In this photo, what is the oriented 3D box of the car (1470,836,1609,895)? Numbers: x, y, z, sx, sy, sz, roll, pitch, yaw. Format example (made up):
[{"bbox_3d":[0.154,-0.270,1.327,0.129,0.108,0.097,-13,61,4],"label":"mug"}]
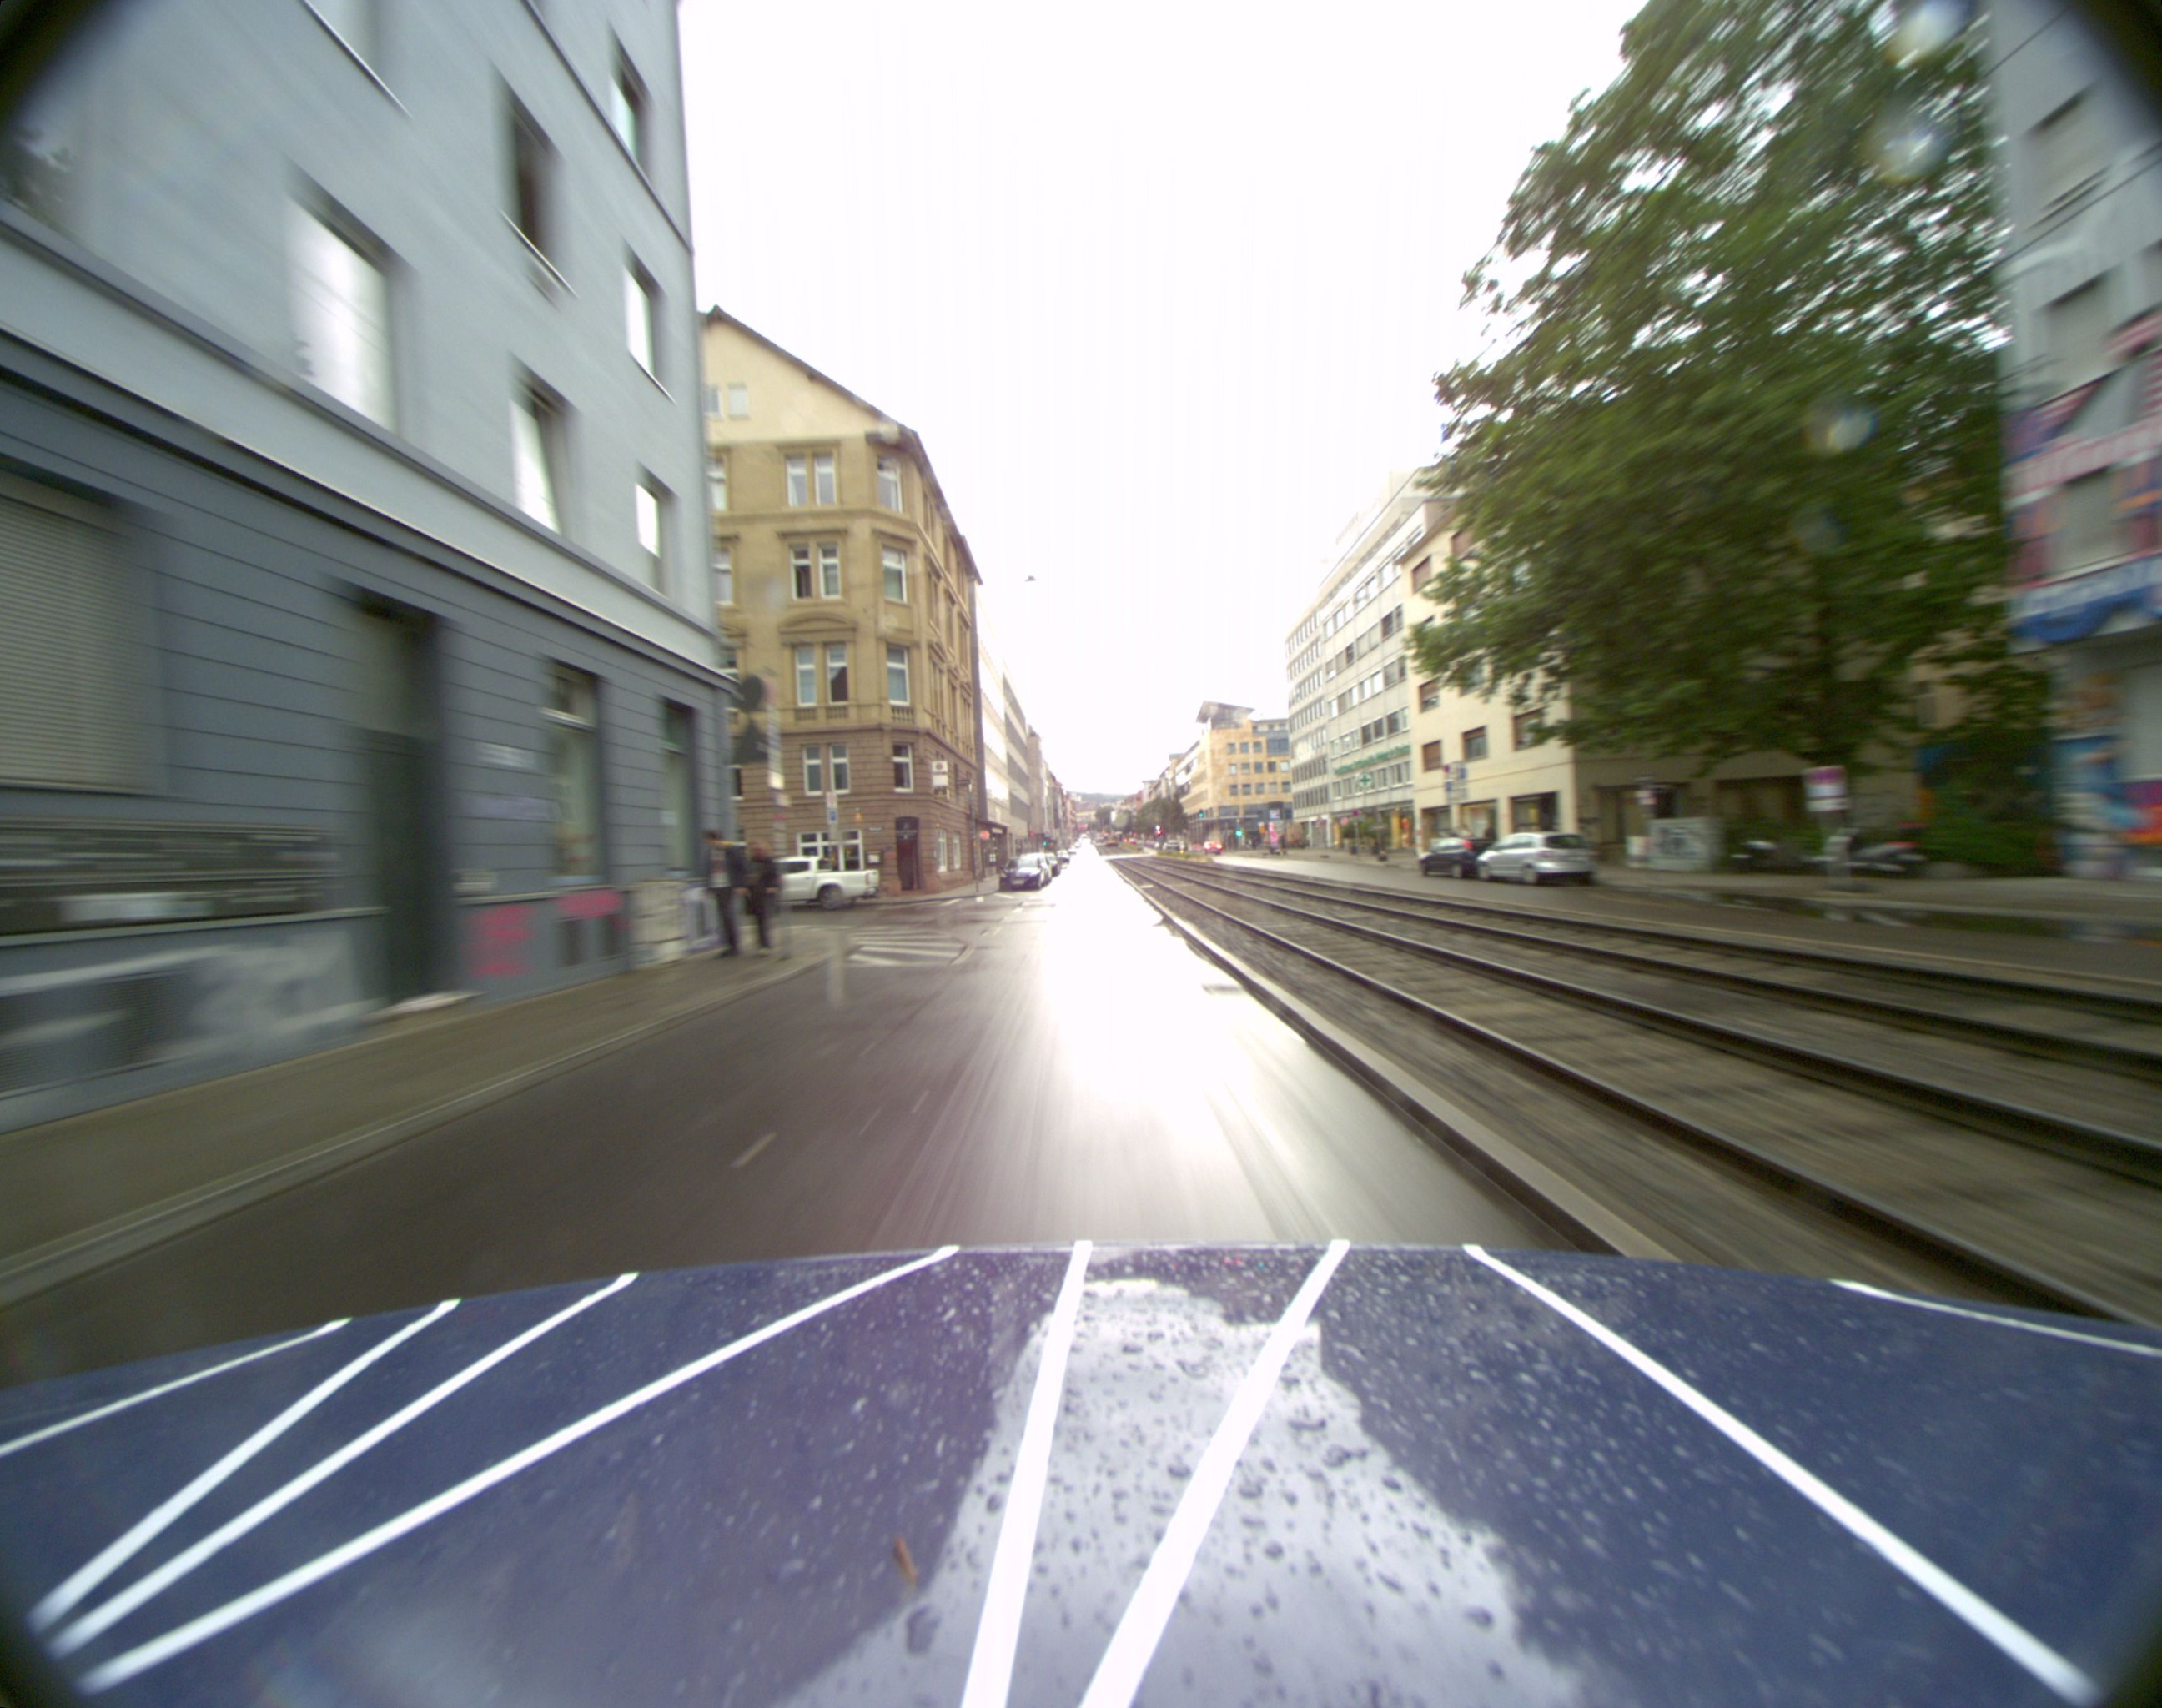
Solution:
[{"bbox_3d":[13.909,0.291,23.366,1.726,1.561,4.219,-4,1,1],"label":"car"}]

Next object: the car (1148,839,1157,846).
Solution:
[{"bbox_3d":[17.036,-2.799,181.178,1.653,1.532,4.620,-3,2,1],"label":"car"}]

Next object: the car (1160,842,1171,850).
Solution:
[{"bbox_3d":[16.990,-1.653,153.128,1.693,1.477,3.999,-4,1,0],"label":"car"}]

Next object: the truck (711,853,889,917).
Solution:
[{"bbox_3d":[-9.259,0.995,25.401,5.072,1.808,2.083,-2,1,-2],"label":"truck"}]

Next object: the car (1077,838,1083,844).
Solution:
[{"bbox_3d":[-0.251,-3.518,211.362,1.653,1.489,4.066,-3,2,1],"label":"car"}]

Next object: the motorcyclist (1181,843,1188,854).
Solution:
[{"bbox_3d":[12.706,-0.697,93.144,0.743,1.211,0.970,-4,2,3],"label":"motorcyclist"}]

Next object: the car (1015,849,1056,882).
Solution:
[{"bbox_3d":[-2.325,0.561,39.597,1.750,1.514,4.354,-3,0,0],"label":"car"}]

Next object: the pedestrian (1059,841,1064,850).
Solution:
[{"bbox_3d":[-3.649,-1.598,141.092,0.793,1.650,0.721,-4,2,1],"label":"pedestrian"}]

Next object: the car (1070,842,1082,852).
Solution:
[{"bbox_3d":[-0.931,-1.339,142.925,2.029,1.585,4.619,-3,2,0],"label":"car"}]

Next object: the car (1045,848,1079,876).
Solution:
[{"bbox_3d":[-1.198,0.515,50.219,1.998,1.585,4.570,-3,2,1],"label":"car"}]

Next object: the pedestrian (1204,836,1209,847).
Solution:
[{"bbox_3d":[20.866,-2.047,126.650,0.703,1.804,0.679,-3,1,3],"label":"pedestrian"}]

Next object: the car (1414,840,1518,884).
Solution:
[{"bbox_3d":[14.119,0.245,28.161,1.748,1.460,4.219,-2,1,1],"label":"car"}]

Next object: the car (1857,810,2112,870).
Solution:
[{"bbox_3d":[23.752,-0.351,20.251,1.998,1.357,3.999,-3,1,0],"label":"car"}]

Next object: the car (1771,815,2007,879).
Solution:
[{"bbox_3d":[21.129,-0.182,20.163,1.998,1.446,3.999,-2,1,0],"label":"car"}]

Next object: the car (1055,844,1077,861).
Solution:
[{"bbox_3d":[-1.564,-0.138,79.951,1.998,1.585,4.270,-3,2,1],"label":"car"}]

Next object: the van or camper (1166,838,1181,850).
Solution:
[{"bbox_3d":[16.340,-1.827,134.649,2.022,1.986,5.195,-3,2,1],"label":"van or camper"}]

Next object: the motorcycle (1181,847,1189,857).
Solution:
[{"bbox_3d":[12.736,-0.240,93.150,0.744,1.054,1.931,-4,1,3],"label":"motorcycle"}]

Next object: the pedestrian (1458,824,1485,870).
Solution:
[{"bbox_3d":[16.730,-0.306,32.584,0.680,1.885,0.742,-4,2,1],"label":"pedestrian"}]

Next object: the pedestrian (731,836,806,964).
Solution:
[{"bbox_3d":[-4.706,0.671,11.493,0.663,1.841,0.821,-3,1,0],"label":"pedestrian"}]

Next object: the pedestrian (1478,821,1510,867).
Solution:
[{"bbox_3d":[17.623,-0.429,32.439,0.729,1.885,0.982,-4,2,1],"label":"pedestrian"}]

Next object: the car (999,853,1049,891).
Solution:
[{"bbox_3d":[-2.526,0.786,34.735,1.724,1.507,4.258,-3,0,2],"label":"car"}]

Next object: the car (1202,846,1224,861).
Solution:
[{"bbox_3d":[15.259,-0.124,87.876,1.998,1.510,4.444,-4,1,4],"label":"car"}]

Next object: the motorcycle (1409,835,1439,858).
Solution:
[{"bbox_3d":[19.572,-0.424,43.307,1.480,1.173,0.386,-4,1,0],"label":"motorcycle"}]

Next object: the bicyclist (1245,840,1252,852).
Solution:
[{"bbox_3d":[25.949,-1.208,117.597,0.710,1.794,0.784,-6,1,1],"label":"bicyclist"}]

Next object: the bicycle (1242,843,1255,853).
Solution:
[{"bbox_3d":[25.899,-0.955,117.386,1.768,1.304,0.659,-6,2,0],"label":"bicycle"}]

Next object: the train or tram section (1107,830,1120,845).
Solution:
[{"bbox_3d":[9.619,-5.091,225.741,2.909,4.028,18.761,-3,2,1],"label":"train or tram section"}]

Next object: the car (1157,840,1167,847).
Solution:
[{"bbox_3d":[16.814,-2.176,157.864,1.653,1.489,4.191,-3,2,1],"label":"car"}]

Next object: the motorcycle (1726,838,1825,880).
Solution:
[{"bbox_3d":[18.461,0.107,20.258,0.640,1.027,2.119,-4,1,-1],"label":"motorcycle"}]

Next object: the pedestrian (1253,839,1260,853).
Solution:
[{"bbox_3d":[24.403,-1.120,105.783,0.677,1.771,0.705,-3,1,36],"label":"pedestrian"}]

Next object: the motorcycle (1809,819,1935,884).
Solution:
[{"bbox_3d":[18.220,-0.074,17.583,0.640,1.371,2.119,-4,1,-1],"label":"motorcycle"}]

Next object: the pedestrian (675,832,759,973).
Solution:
[{"bbox_3d":[-5.456,0.706,11.428,0.738,2.002,0.821,-3,1,0],"label":"pedestrian"}]
